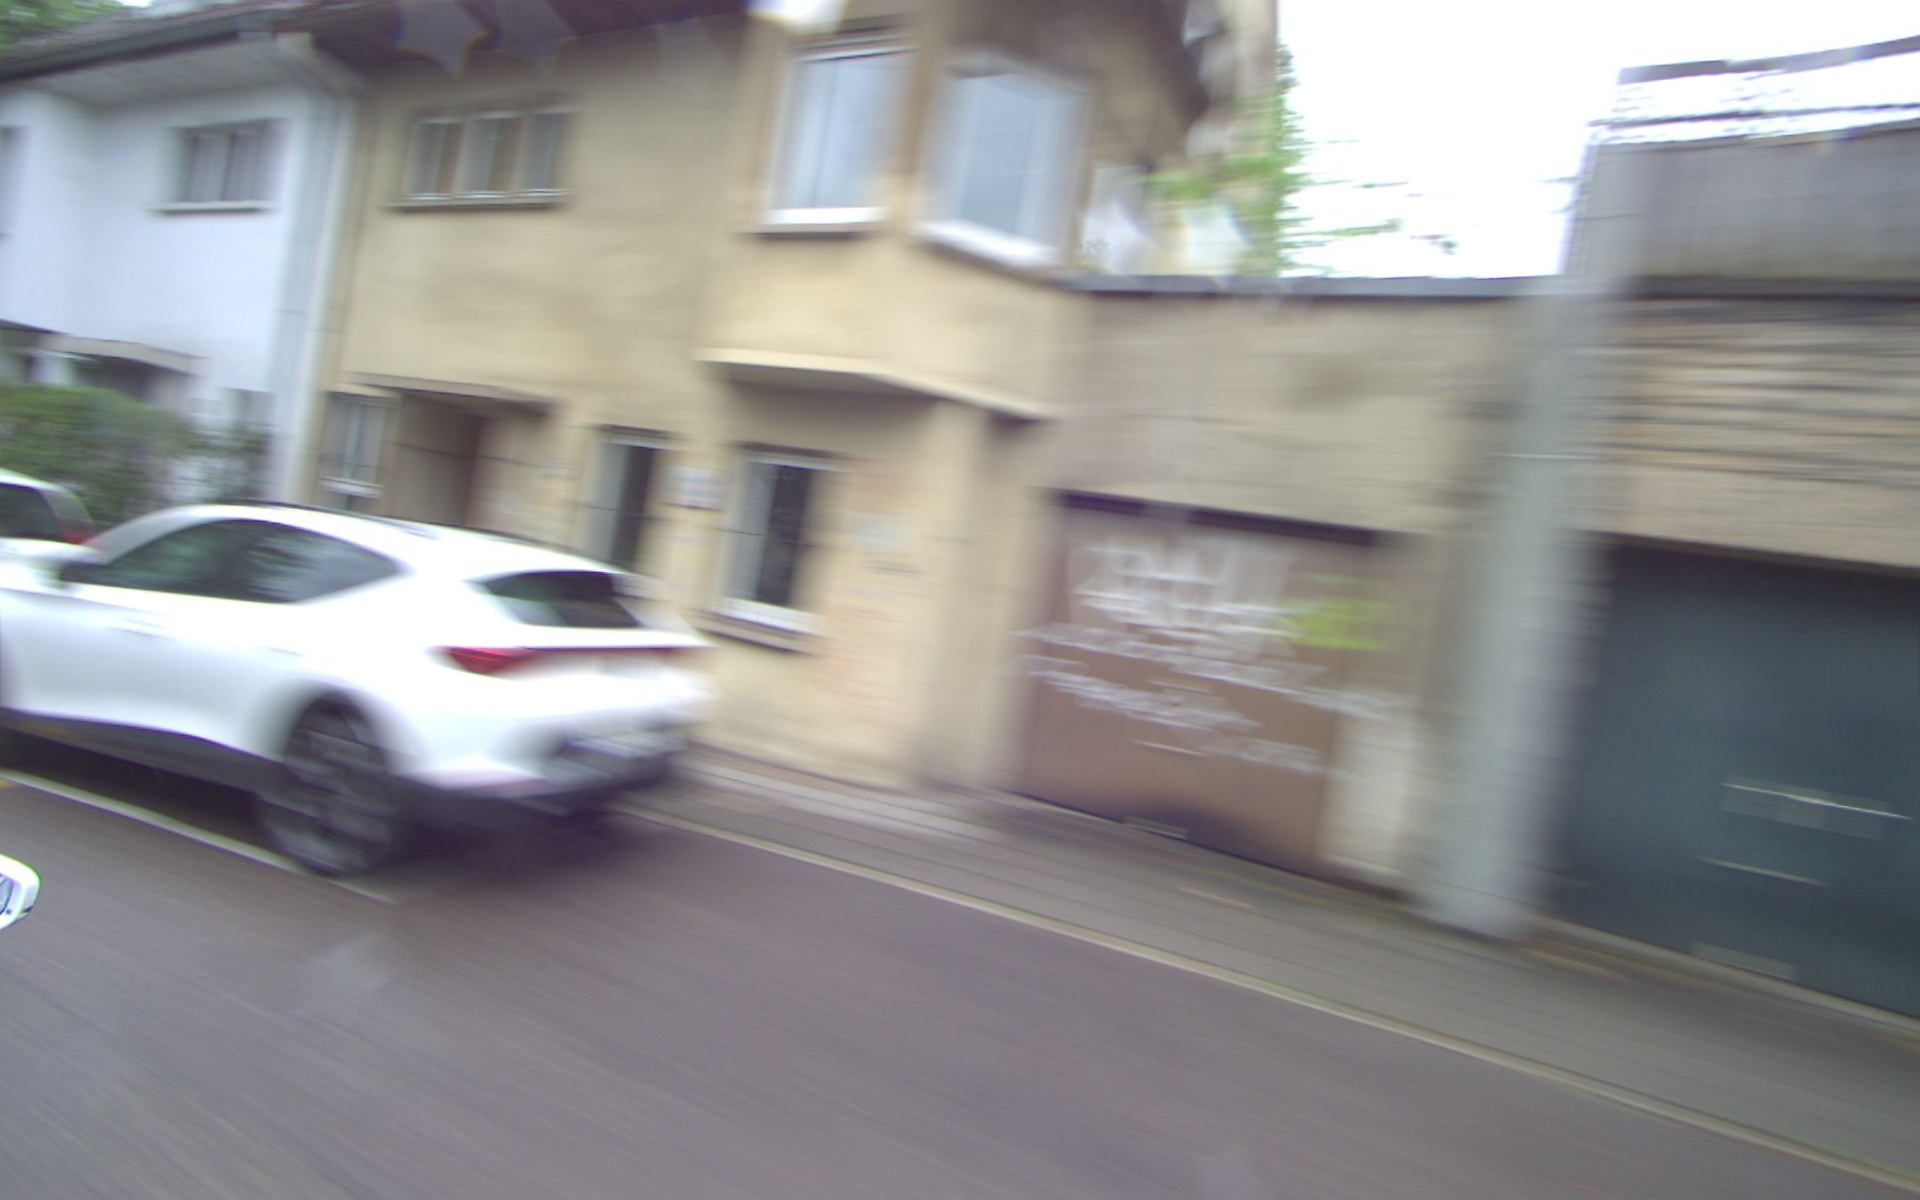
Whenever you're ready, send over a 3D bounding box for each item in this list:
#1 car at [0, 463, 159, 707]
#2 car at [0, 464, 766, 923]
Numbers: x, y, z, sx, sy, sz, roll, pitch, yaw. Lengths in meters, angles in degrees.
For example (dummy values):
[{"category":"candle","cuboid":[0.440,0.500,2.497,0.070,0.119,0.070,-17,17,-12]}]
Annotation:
[{"category":"car","cuboid":[-7.821,-0.321,6.810,3.750,1.534,1.770,8,1,14]},{"category":"car","cuboid":[-3.500,0.253,5.432,4.332,1.558,1.919,7,1,19]}]
